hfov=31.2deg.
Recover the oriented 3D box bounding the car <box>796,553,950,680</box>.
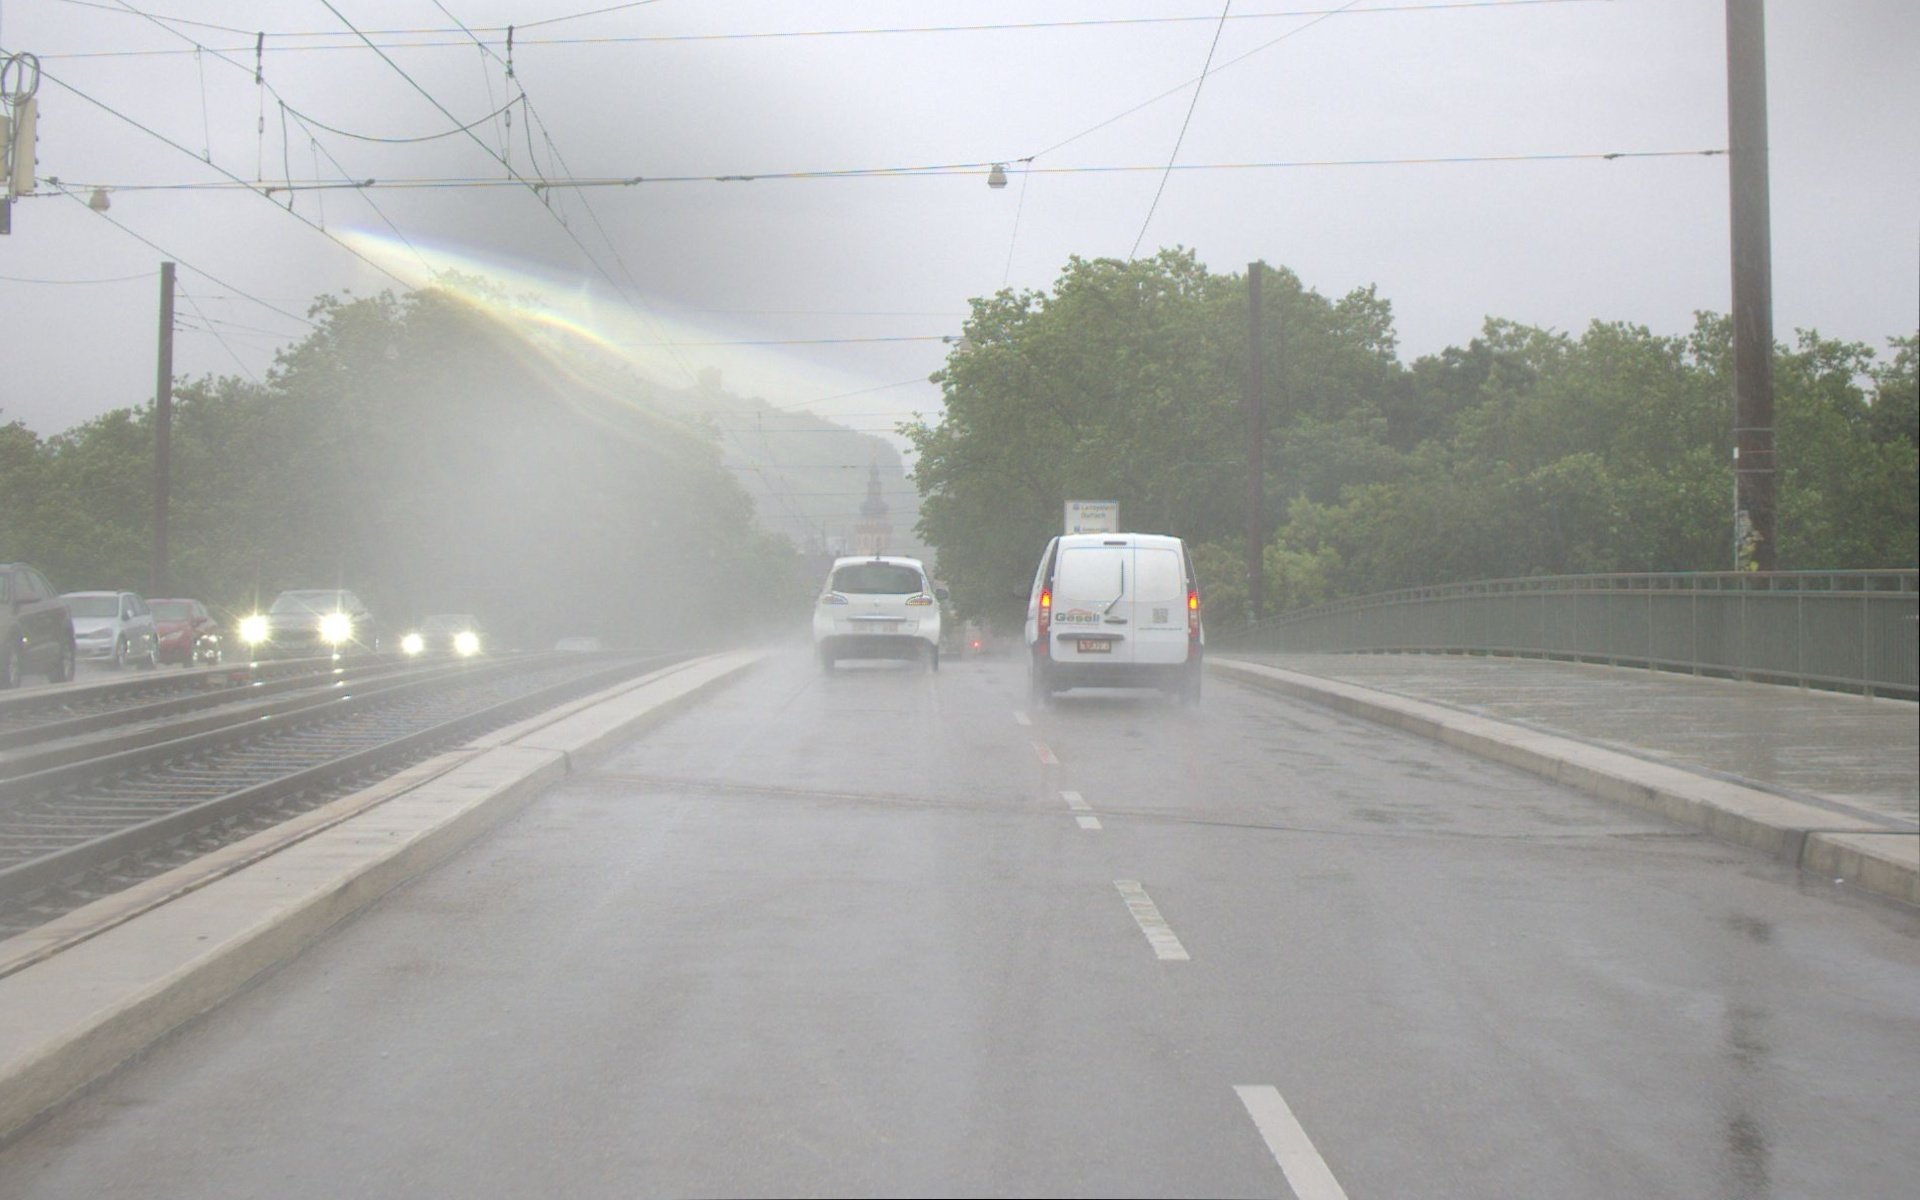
[{"bbox_3d":[-1.221,0.261,49.960,1.993,1.711,4.000,2,-1,2],"label":"car"}]

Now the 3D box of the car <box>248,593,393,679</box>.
[{"bbox_3d":[-11.978,0.688,64.698,1.993,1.504,5.114,-2,-1,-3],"label":"car"}]

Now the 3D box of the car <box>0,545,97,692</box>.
[{"bbox_3d":[-12.242,0.274,42.387,1.993,1.711,4.941,-2,-1,-1],"label":"car"}]

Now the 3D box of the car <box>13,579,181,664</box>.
[{"bbox_3d":[-15.754,0.409,62.994,1.993,1.451,4.620,-2,-1,-1],"label":"car"}]

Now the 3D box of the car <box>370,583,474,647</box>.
[{"bbox_3d":[-13.334,0.395,85.401,1.993,1.504,4.092,-2,-1,-1],"label":"car"}]

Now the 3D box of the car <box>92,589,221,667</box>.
[{"bbox_3d":[-15.903,0.565,68.187,1.620,1.451,4.322,-2,-1,-1],"label":"car"}]

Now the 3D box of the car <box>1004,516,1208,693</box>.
[{"bbox_3d":[1.518,0.071,36.496,1.993,1.720,4.000,2,-1,2],"label":"car"}]
